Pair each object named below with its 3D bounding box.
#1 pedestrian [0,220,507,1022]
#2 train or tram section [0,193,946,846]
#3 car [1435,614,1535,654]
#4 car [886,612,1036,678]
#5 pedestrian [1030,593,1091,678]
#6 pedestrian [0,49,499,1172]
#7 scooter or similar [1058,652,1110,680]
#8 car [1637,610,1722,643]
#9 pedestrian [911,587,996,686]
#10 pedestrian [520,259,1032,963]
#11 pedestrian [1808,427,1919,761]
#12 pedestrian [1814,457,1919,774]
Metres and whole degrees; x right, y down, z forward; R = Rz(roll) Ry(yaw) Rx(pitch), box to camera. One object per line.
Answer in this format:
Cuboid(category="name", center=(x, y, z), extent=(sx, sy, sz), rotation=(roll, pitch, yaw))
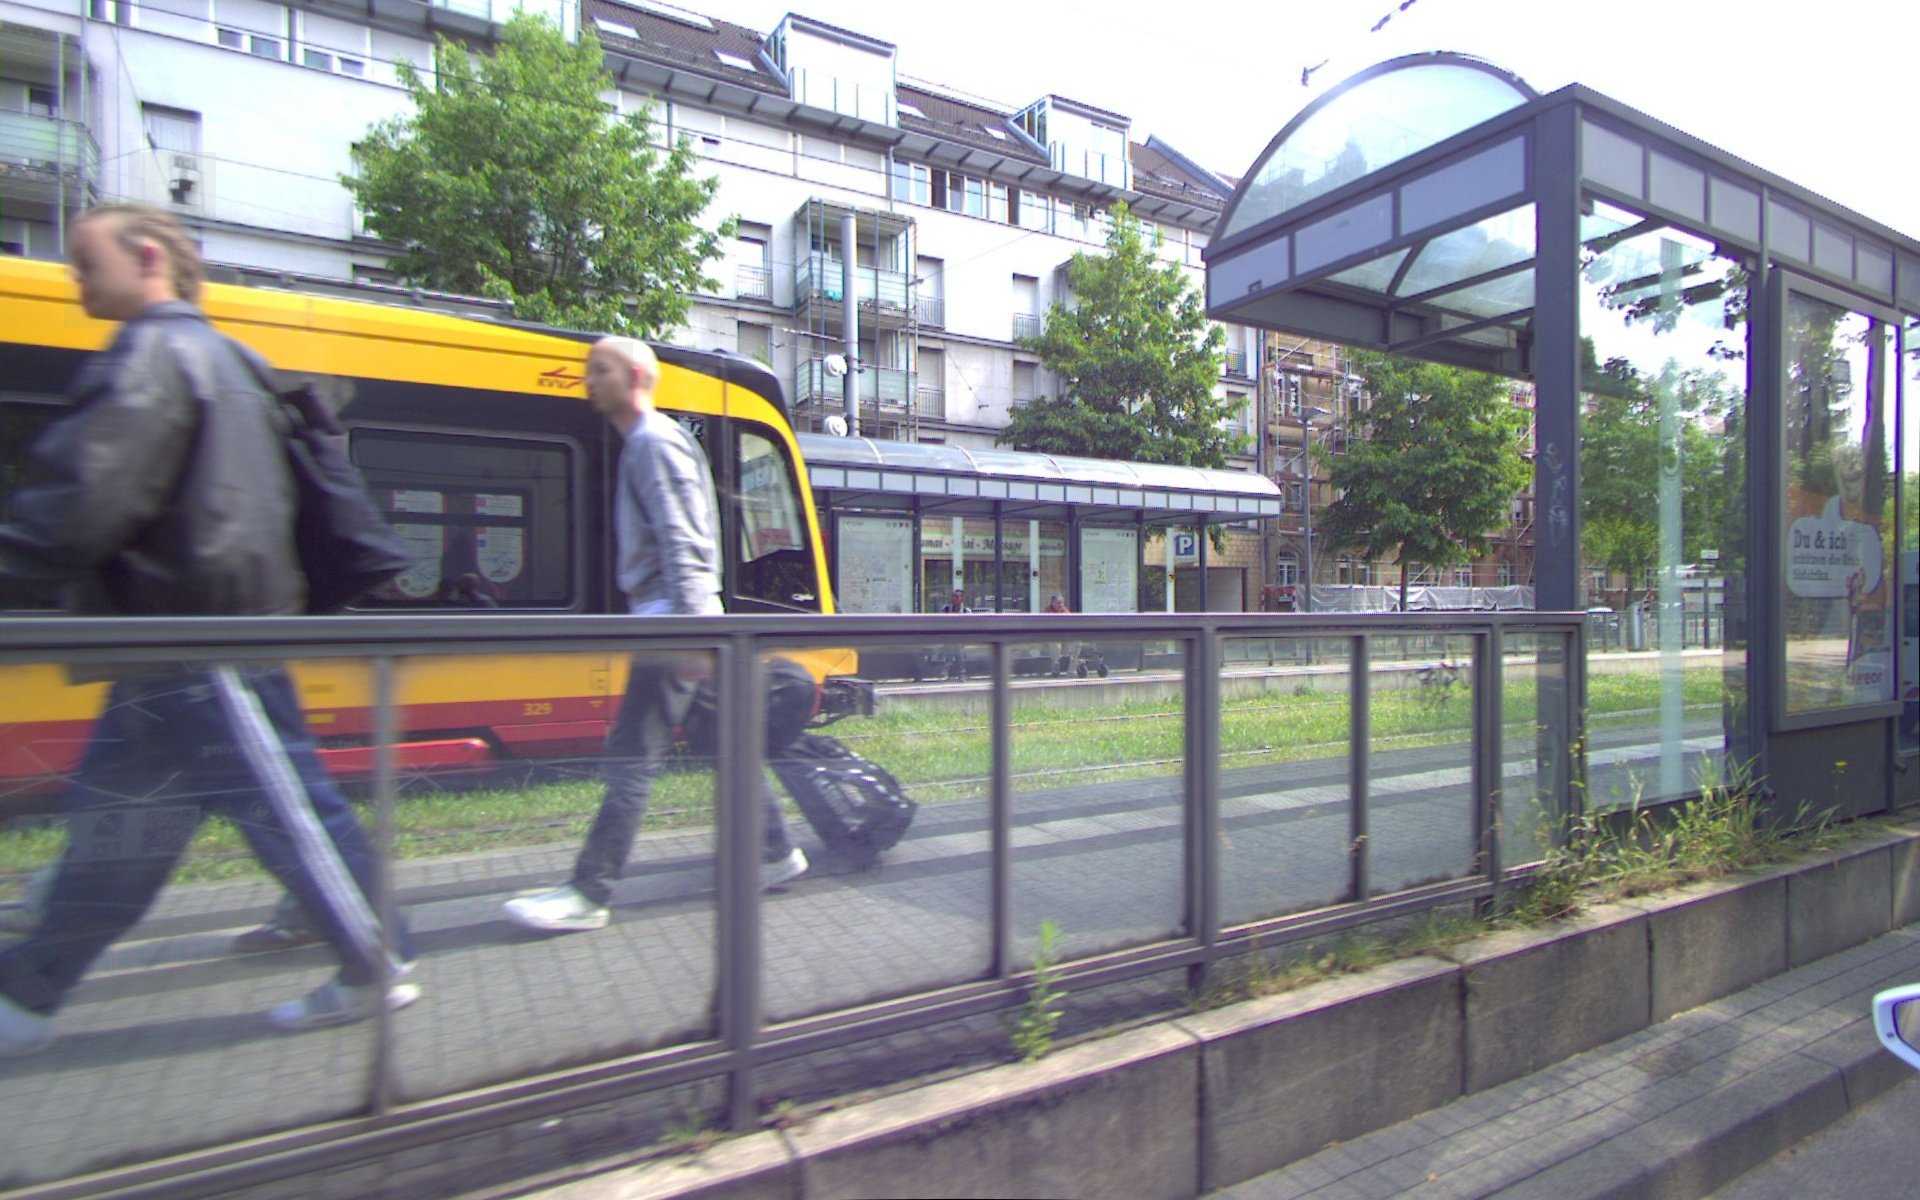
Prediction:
Cuboid(category="pedestrian", center=(-1.933, 0.051, 2.846), extent=(1.119, 1.825, 0.708), rotation=(0, 0, -30))
Cuboid(category="train or tram section", center=(-6.351, -0.439, 6.573), extent=(12.859, 3.632, 2.711), rotation=(0, 0, -30))
Cuboid(category="car", center=(19.518, 1.244, 37.318), extent=(3.435, 1.389, 1.711), rotation=(0, -1, -30))
Cuboid(category="car", center=(0.035, 1.147, 26.759), extent=(3.647, 1.630, 1.711), rotation=(0, -1, -30))
Cuboid(category="pedestrian", center=(1.480, 0.522, 14.851), extent=(0.611, 1.229, 0.661), rotation=(0, -2, -30))
Cuboid(category="pedestrian", center=(-1.600, 0.020, 2.180), extent=(1.019, 1.897, 0.806), rotation=(0, 0, -30))
Cuboid(category="scooter or similar", center=(1.774, 0.937, 14.370), extent=(0.611, 0.371, 0.407), rotation=(0, -2, -30))
Cuboid(category="car", center=(31.980, 1.172, 44.633), extent=(3.660, 1.389, 1.711), rotation=(0, -1, -30))
Cuboid(category="pedestrian", center=(-0.102, 0.501, 13.972), extent=(0.868, 1.318, 0.826), rotation=(0, -2, -30))
Cuboid(category="pedestrian", center=(-0.619, 0.031, 3.363), extent=(1.477, 1.825, 0.882), rotation=(0, 0, -30))
Cuboid(category="pedestrian", center=(5.539, -0.029, 6.146), extent=(0.464, 1.926, 0.535), rotation=(-1, -1, 36))
Cuboid(category="pedestrian", center=(5.165, 0.084, 5.587), extent=(0.531, 1.663, 0.468), rotation=(0, -1, -30))
